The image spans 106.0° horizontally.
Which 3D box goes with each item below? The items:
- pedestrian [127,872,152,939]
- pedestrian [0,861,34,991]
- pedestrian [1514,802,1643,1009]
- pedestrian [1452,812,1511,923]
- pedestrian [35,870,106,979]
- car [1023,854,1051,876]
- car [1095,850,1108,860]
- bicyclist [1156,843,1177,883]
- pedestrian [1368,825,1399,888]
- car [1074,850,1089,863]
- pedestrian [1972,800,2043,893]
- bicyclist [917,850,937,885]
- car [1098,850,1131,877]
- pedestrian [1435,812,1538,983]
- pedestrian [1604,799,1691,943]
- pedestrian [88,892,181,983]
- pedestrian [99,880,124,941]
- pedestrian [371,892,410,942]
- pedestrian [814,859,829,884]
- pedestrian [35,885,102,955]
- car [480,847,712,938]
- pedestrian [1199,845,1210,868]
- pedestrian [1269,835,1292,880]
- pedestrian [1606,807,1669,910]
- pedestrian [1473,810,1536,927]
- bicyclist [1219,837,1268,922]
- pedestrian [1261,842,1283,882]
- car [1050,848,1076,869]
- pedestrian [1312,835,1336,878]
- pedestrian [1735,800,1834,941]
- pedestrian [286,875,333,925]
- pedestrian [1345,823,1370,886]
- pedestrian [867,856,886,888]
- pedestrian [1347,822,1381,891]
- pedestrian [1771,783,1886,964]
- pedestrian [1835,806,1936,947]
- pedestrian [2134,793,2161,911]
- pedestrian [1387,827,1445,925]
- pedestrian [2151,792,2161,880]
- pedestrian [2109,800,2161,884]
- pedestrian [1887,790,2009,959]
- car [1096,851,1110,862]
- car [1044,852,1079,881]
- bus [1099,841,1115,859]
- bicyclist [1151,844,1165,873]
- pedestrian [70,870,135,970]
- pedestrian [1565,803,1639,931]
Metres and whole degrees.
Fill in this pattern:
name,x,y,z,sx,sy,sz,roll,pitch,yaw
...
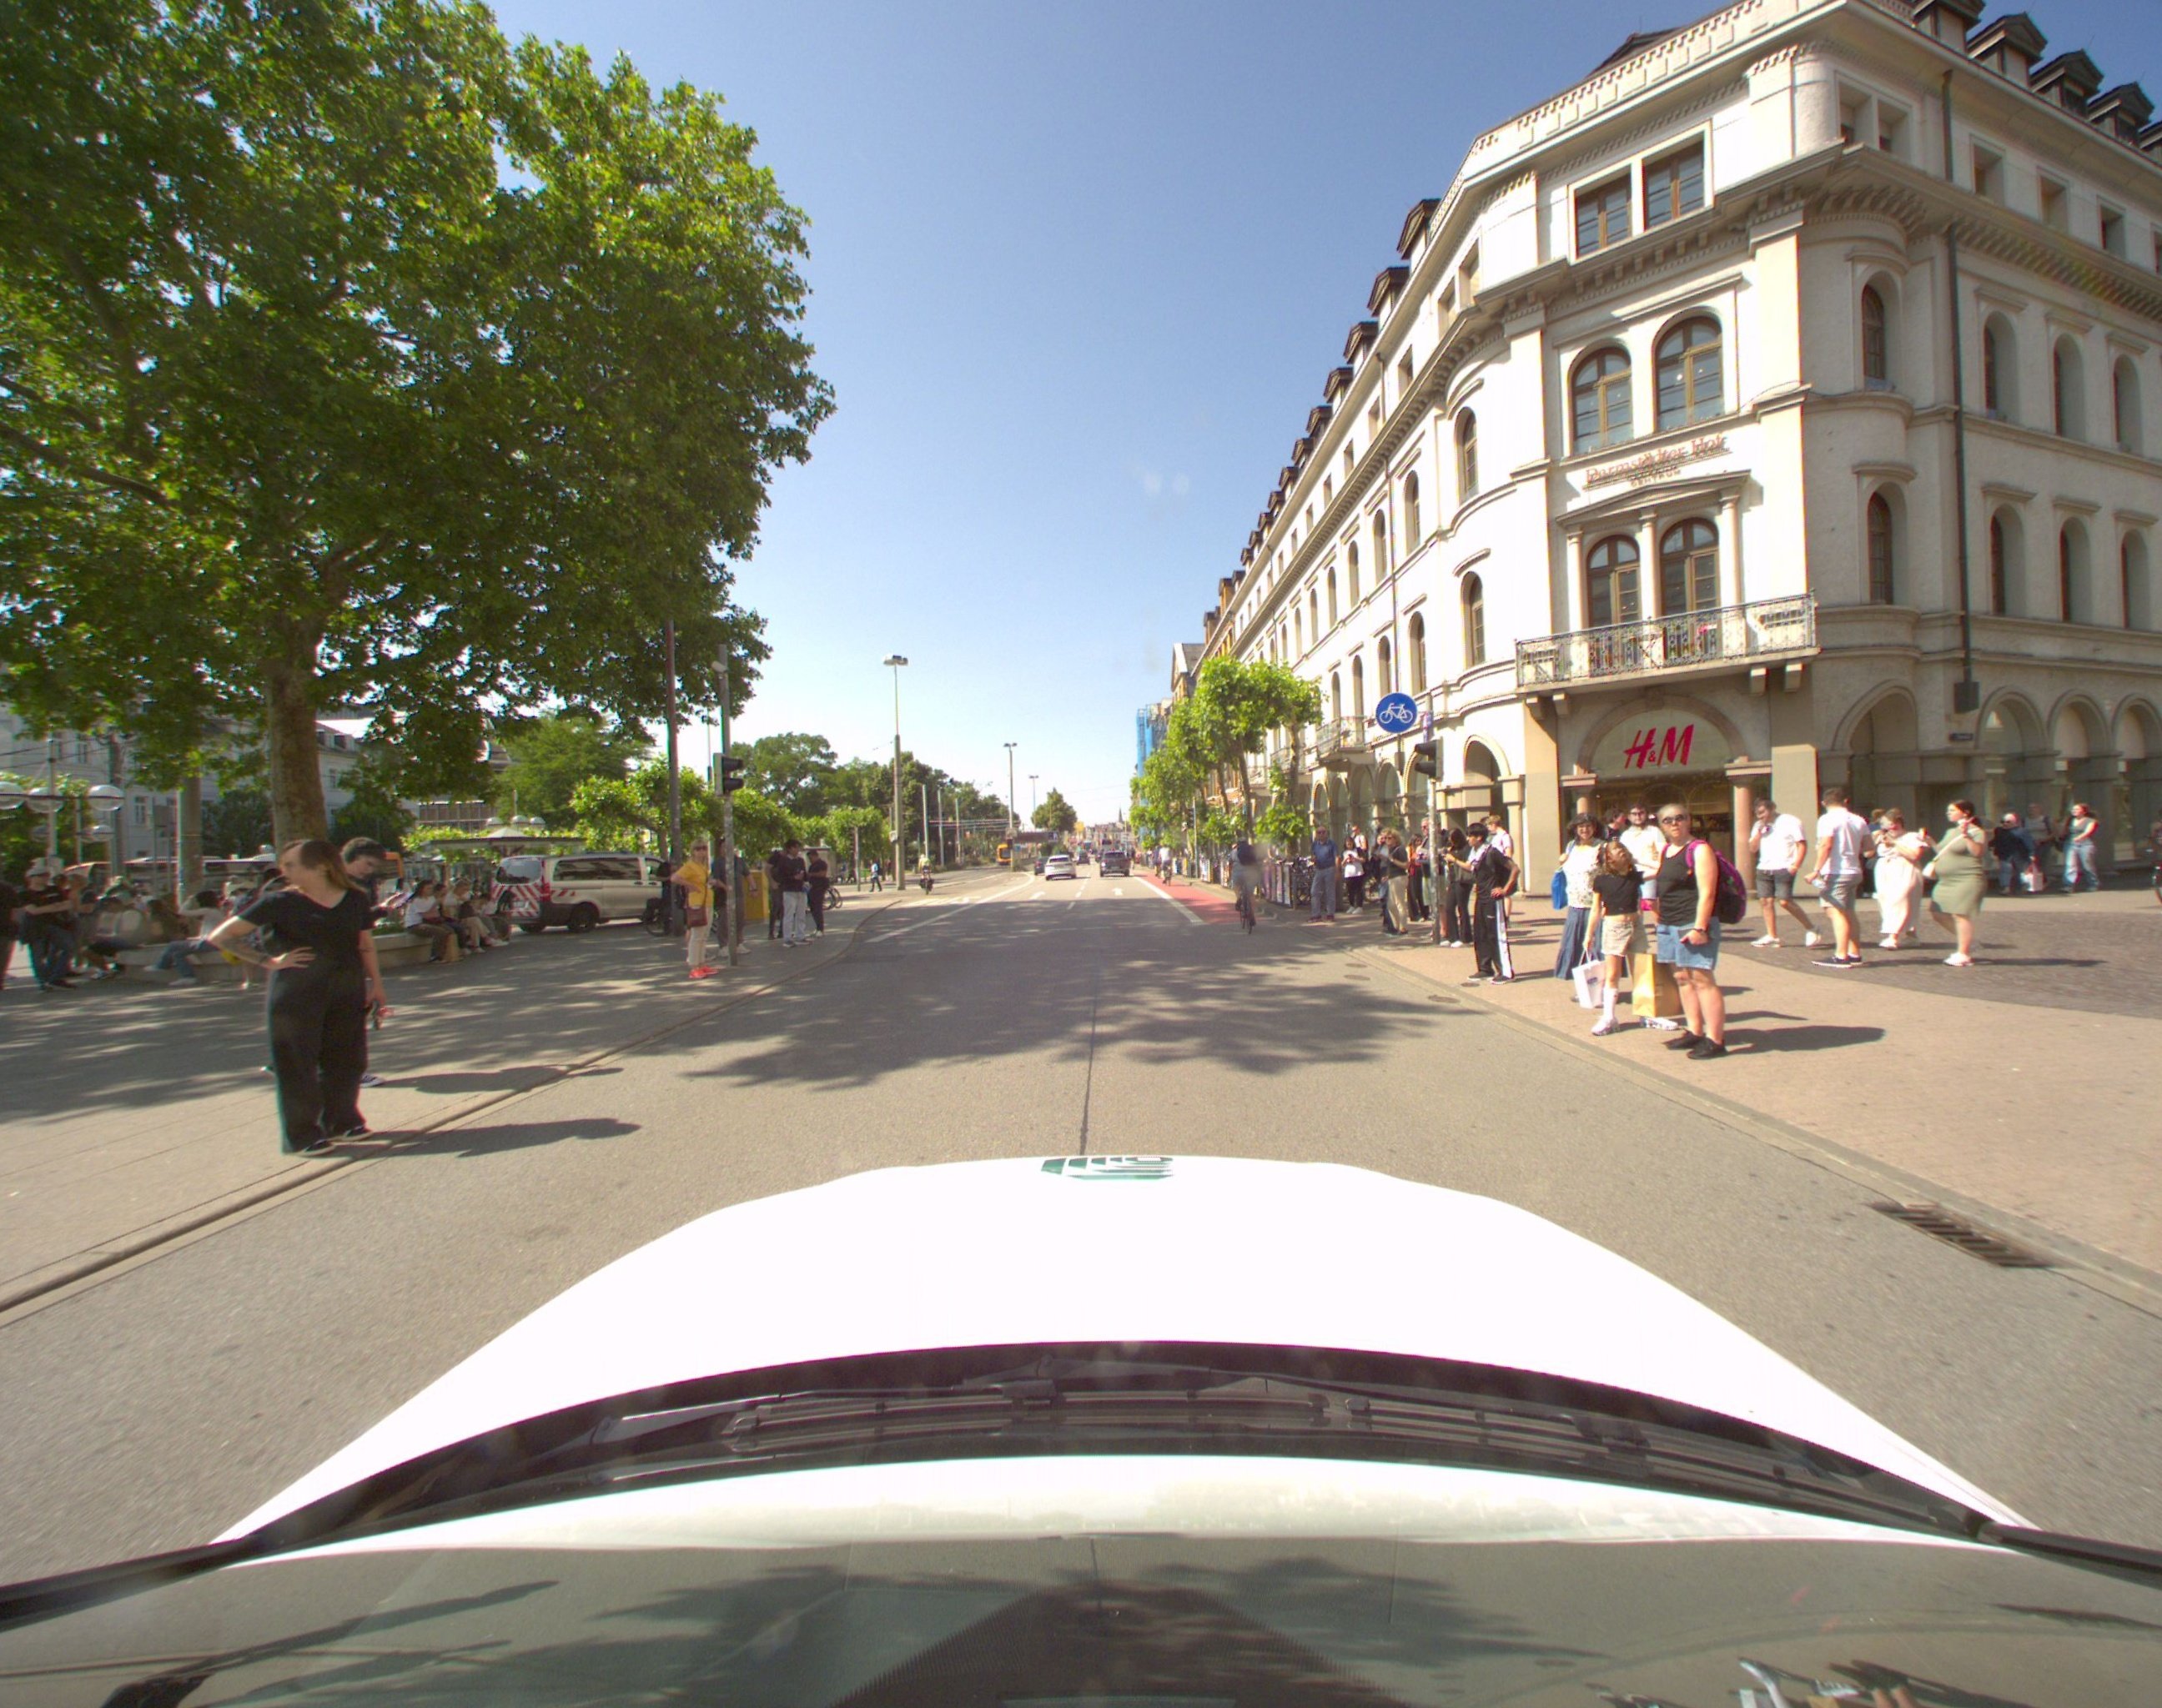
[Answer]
name,x,y,z,sx,sy,sz,roll,pitch,yaw
pedestrian,-25.279,1.375,21.870,0.410,1.749,0.385,-2,0,40
pedestrian,-15.411,1.030,11.472,0.627,1.810,0.618,-4,-1,21
pedestrian,4.532,0.448,7.459,0.608,1.759,0.677,-6,0,-1
pedestrian,6.744,0.225,13.725,0.608,1.807,0.677,-2,0,-1
pedestrian,-15.884,1.100,12.805,0.508,1.657,0.528,-4,-1,21
car,-3.397,0.852,63.468,1.839,1.560,4.000,-2,0,1
car,3.093,0.207,124.153,1.839,1.413,4.001,-2,1,1
bicyclist,3.618,0.362,34.607,0.771,1.635,0.851,-2,1,1
pedestrian,8.741,0.076,23.566,0.626,1.791,0.612,-2,0,1
car,0.068,0.309,103.324,1.839,1.560,4.001,-2,1,1
pedestrian,17.286,-0.142,15.200,0.612,1.679,0.673,-2,0,-21
bicyclist,-6.878,0.595,36.478,0.737,1.502,1.050,-2,0,-5
car,2.018,0.560,49.984,1.840,1.559,3.999,-1,1,0
pedestrian,4.407,0.457,8.890,0.608,1.739,0.677,-6,0,-1
pedestrian,7.364,0.214,10.611,0.608,1.807,0.677,-2,0,-1
pedestrian,-14.335,1.241,12.348,0.627,1.293,0.735,-2,0,22
pedestrian,-25.534,1.481,21.446,0.410,1.574,0.385,-2,0,40
pedestrian,-22.155,2.020,26.143,0.603,1.514,0.745,-2,0,-5
pedestrian,-18.443,1.225,57.831,0.704,1.707,0.659,-2,0,17
pedestrian,-22.913,1.493,18.439,0.740,1.514,0.607,-2,0,7
car,-11.894,0.851,20.411,1.843,1.955,4.787,-2,0,22
pedestrian,8.883,0.183,58.705,0.673,1.572,0.612,-2,0,0
pedestrian,7.540,0.127,30.781,0.673,1.665,0.612,-2,0,0
pedestrian,9.850,0.082,14.438,0.608,1.763,0.677,-2,0,-1
pedestrian,6.759,0.228,13.021,0.608,1.807,0.677,-2,0,-1
bicyclist,2.964,0.441,14.960,0.628,1.481,1.198,-2,0,1
pedestrian,7.679,0.305,32.723,0.673,1.572,0.612,-2,0,0
car,-1.362,0.322,63.540,1.839,1.560,4.000,-2,0,1
pedestrian,9.071,0.092,30.463,0.673,1.572,0.612,-2,0,0
pedestrian,8.465,0.180,9.823,0.608,1.618,0.678,-2,2,-1
pedestrian,-24.159,1.441,25.519,0.738,1.514,0.739,-2,0,15
pedestrian,7.981,0.009,23.516,0.475,1.791,0.612,-2,0,1
pedestrian,-10.696,0.955,42.653,0.768,1.629,0.612,-2,0,0
pedestrian,7.537,0.074,21.707,0.673,1.791,0.612,-2,0,1
pedestrian,7.966,0.198,8.699,0.673,1.855,0.541,-2,0,-1
pedestrian,9.713,0.260,9.848,0.538,1.633,0.677,-1,1,0
pedestrian,16.033,-0.029,11.931,0.543,1.716,0.671,-1,1,-29
pedestrian,6.095,0.383,14.824,0.613,1.705,0.672,-3,0,-27
pedestrian,21.747,-0.356,16.120,0.660,1.735,0.563,-1,1,-24
pedestrian,20.785,-0.237,16.015,0.660,1.600,0.563,-1,1,-24
pedestrian,9.205,0.206,8.667,0.539,1.716,0.677,-1,0,-3
car,3.041,0.284,114.148,1.839,1.413,4.001,-2,1,1
car,-1.139,0.735,49.547,1.839,1.559,4.002,-3,1,2
bus,5.471,-0.913,173.068,2.984,3.594,11.746,-2,0,1
bicyclist,4.223,0.230,44.498,0.645,1.551,0.818,-2,0,1
pedestrian,-16.154,1.081,13.449,0.494,1.603,0.501,-4,-1,21
pedestrian,7.736,0.186,12.123,0.608,1.823,0.677,-2,0,-1
